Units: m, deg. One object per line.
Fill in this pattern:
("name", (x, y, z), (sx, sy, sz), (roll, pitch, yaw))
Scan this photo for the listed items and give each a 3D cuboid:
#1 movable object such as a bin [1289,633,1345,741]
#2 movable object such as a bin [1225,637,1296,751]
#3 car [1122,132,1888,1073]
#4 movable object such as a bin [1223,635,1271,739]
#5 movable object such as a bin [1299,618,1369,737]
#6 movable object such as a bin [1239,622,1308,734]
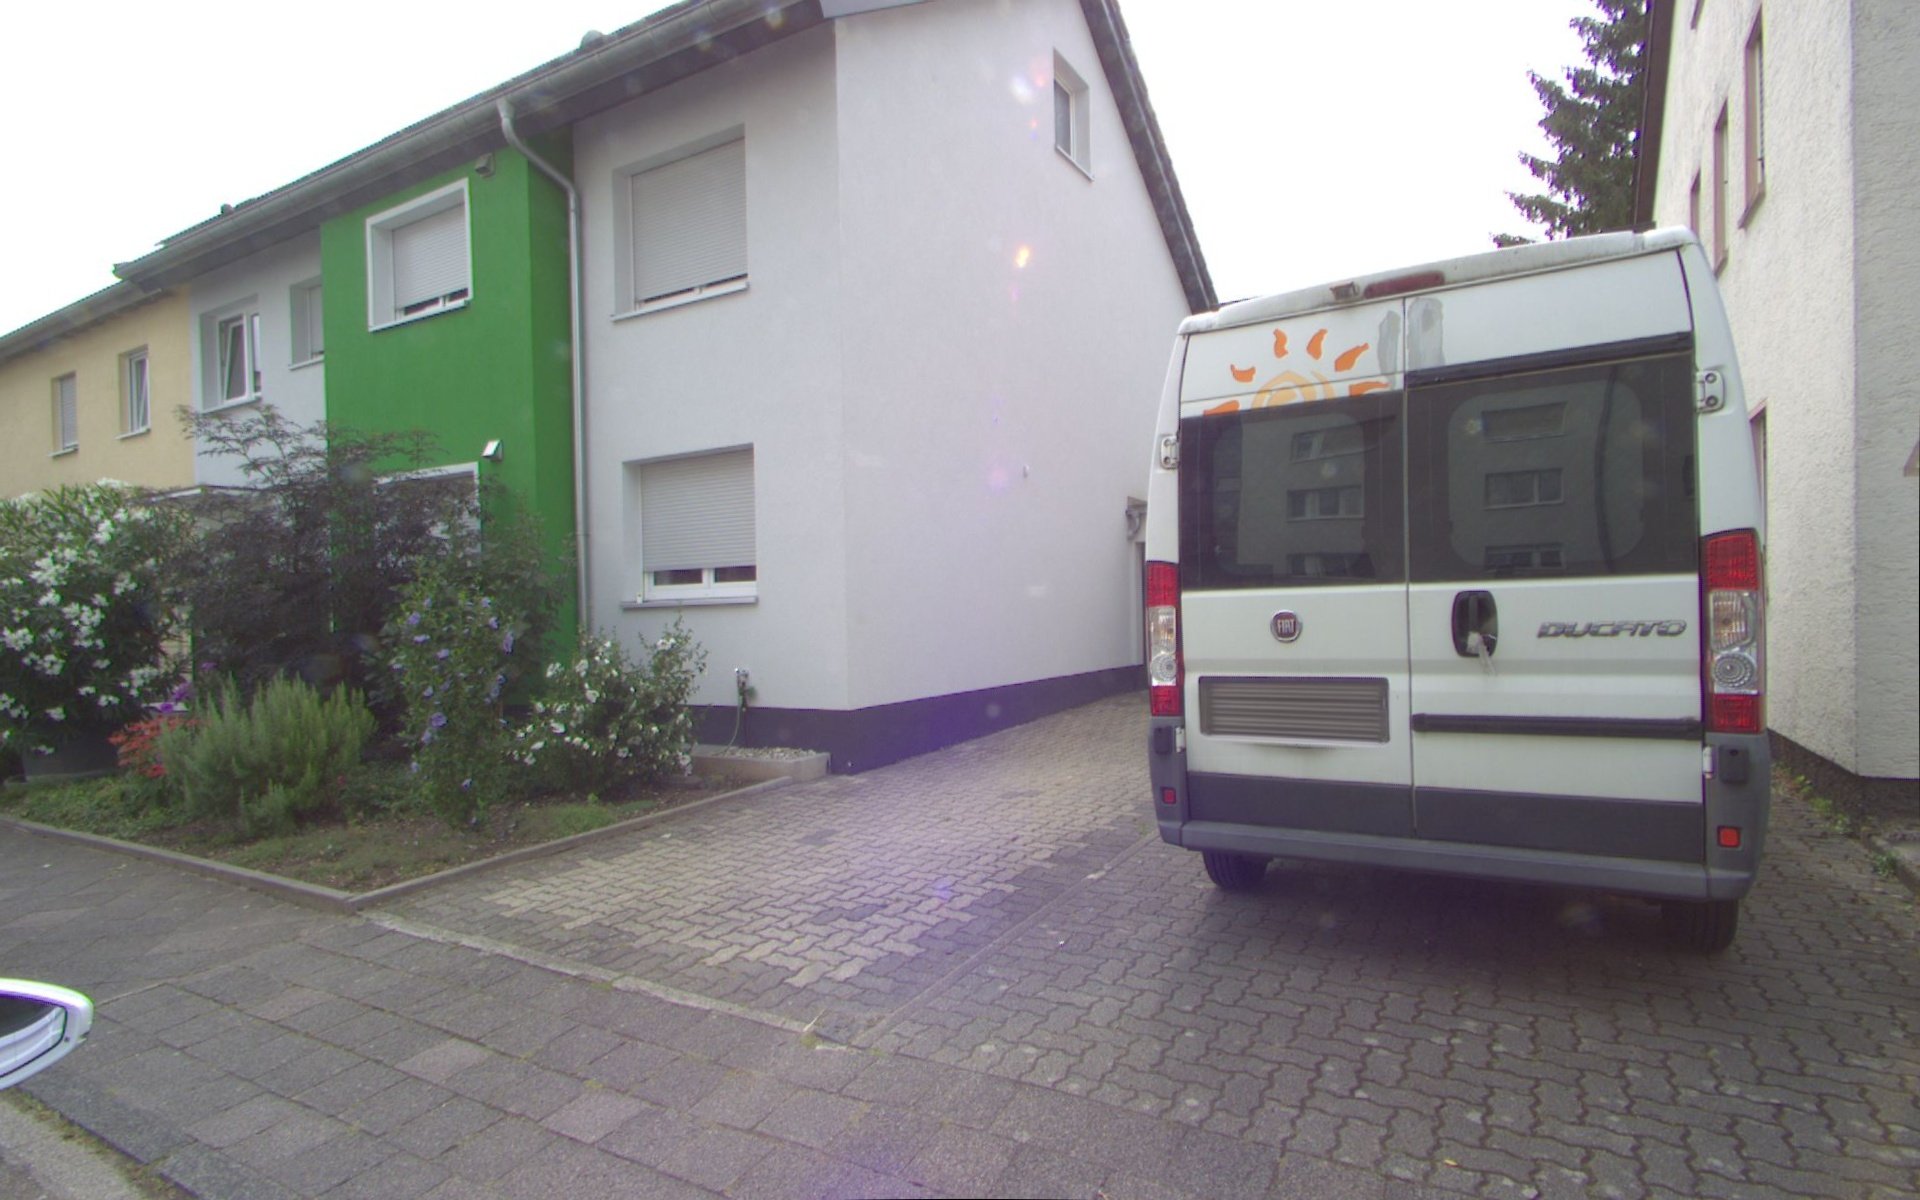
("movable object such as a bin", (3.265, 0.782, 9.151), (0.396, 0.938, 0.448), (-1, 2, 30))
("movable object such as a bin", (2.670, 0.818, 8.888), (0.475, 0.938, 0.518), (-1, 2, 30))
("car", (2.892, -0.013, 5.499), (2.205, 2.576, 5.077), (-1, 1, 31))
("movable object such as a bin", (2.717, 0.809, 9.472), (0.333, 0.938, 0.354), (-1, 2, 30))
("movable object such as a bin", (3.566, 0.725, 9.533), (0.538, 1.071, 0.454), (-1, 2, 30))
("movable object such as a bin", (3.078, 0.751, 9.815), (0.538, 1.046, 0.454), (-1, 2, 30))
